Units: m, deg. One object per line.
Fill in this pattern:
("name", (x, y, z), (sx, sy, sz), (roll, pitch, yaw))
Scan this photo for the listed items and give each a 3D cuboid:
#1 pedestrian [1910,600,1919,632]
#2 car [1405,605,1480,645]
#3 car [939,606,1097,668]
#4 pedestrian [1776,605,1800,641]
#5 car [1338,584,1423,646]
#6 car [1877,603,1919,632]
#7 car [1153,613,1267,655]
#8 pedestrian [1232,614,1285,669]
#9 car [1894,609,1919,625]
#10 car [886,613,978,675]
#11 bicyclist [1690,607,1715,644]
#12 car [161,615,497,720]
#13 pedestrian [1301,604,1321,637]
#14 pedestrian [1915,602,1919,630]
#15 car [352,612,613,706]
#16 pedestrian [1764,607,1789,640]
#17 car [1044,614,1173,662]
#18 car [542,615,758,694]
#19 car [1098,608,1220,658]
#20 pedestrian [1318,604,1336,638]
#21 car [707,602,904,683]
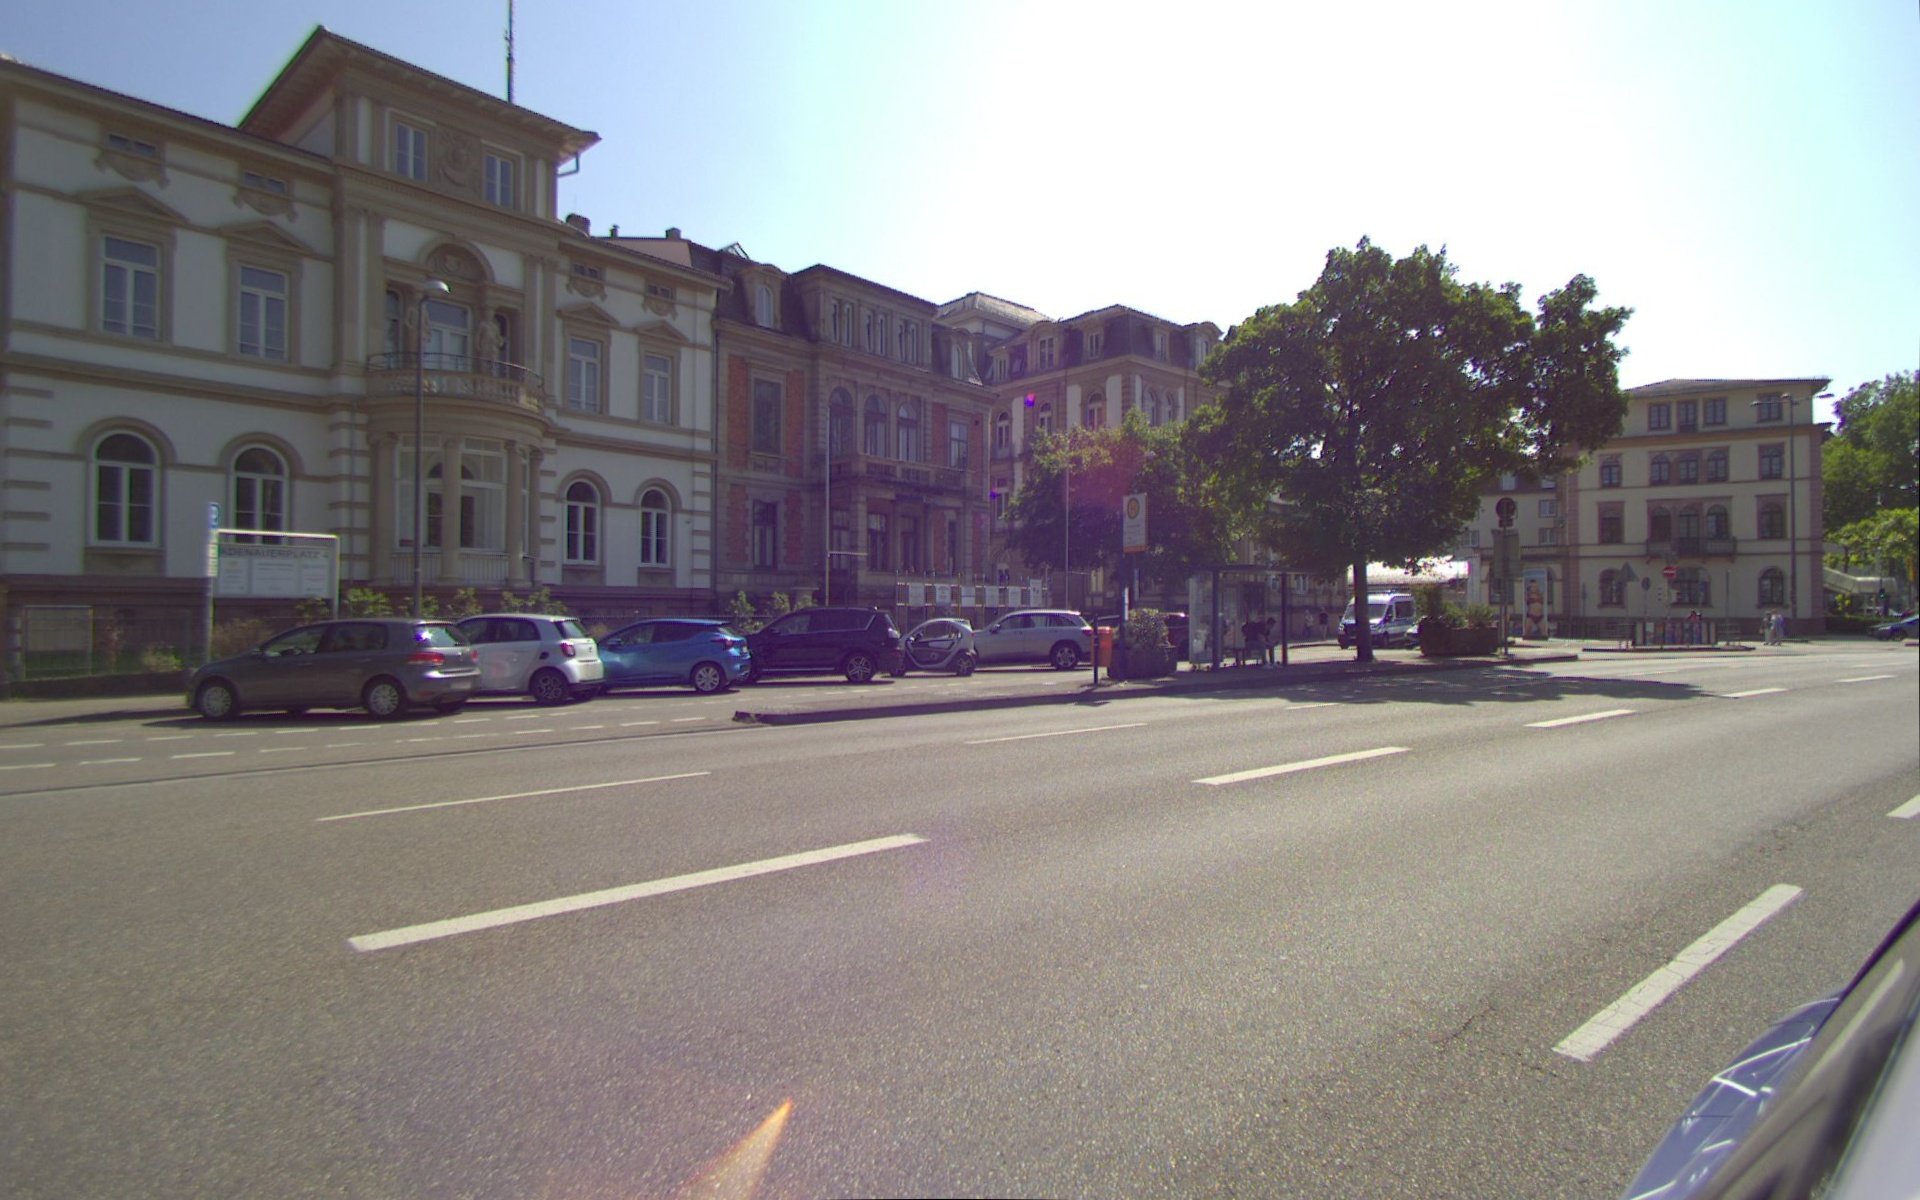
("pedestrian", (55.345, 0.933, 58.333), (0.722, 1.828, 0.644), (-1, -1, 38))
("car", (21.114, 1.078, 44.208), (1.814, 1.647, 4.809), (-1, -1, 40))
("car", (1.544, 0.997, 28.101), (4.234, 1.650, 1.713), (0, -1, 0))
("pedestrian", (39.310, 1.093, 48.043), (0.815, 1.681, 0.753), (1, -1, -40))
("car", (19.063, 0.666, 45.788), (1.991, 2.637, 5.239), (-1, -1, 41))
("car", (50.858, 0.924, 52.934), (3.941, 1.470, 1.773), (1, 0, 31))
("car", (8.799, 1.180, 35.809), (3.634, 1.436, 1.747), (0, -1, 5))
("pedestrian", (6.829, 0.931, 23.156), (1.013, 1.213, 0.783), (-1, -1, 30))
("car", (82.413, 1.487, 87.798), (1.581, 1.339, 3.533), (-1, -1, 36))
("car", (-0.735, 1.087, 25.547), (2.243, 1.502, 1.202), (0, -1, -5))
("bicyclist", (33.402, 1.136, 45.513), (0.670, 1.627, 0.594), (0, -1, -18))
("car", (-9.443, 0.977, 15.345), (4.033, 1.480, 1.825), (0, -1, 4))
("pedestrian", (18.619, 1.086, 53.717), (0.817, 1.762, 0.740), (-1, -1, 39))
("pedestrian", (57.508, 0.962, 60.471), (0.531, 1.670, 0.666), (-1, -1, 34))
("car", (-8.193, 0.985, 17.579), (3.740, 1.531, 1.713), (0, -1, 1))
("pedestrian", (39.707, 1.141, 49.187), (0.814, 1.592, 0.772), (1, -1, -39))
("car", (4.459, 1.141, 30.831), (3.752, 1.435, 1.604), (0, -1, 5))
("car", (-5.982, 1.036, 19.843), (3.737, 1.460, 1.714), (0, -1, -2))
("car", (6.575, 1.090, 33.753), (3.808, 1.595, 1.748), (0, -1, 5))
("pedestrian", (19.272, 1.087, 53.152), (0.698, 1.774, 0.711), (-1, -1, 40))
("car", (-3.367, 0.922, 22.631), (4.191, 1.718, 1.714), (0, -1, -2))
